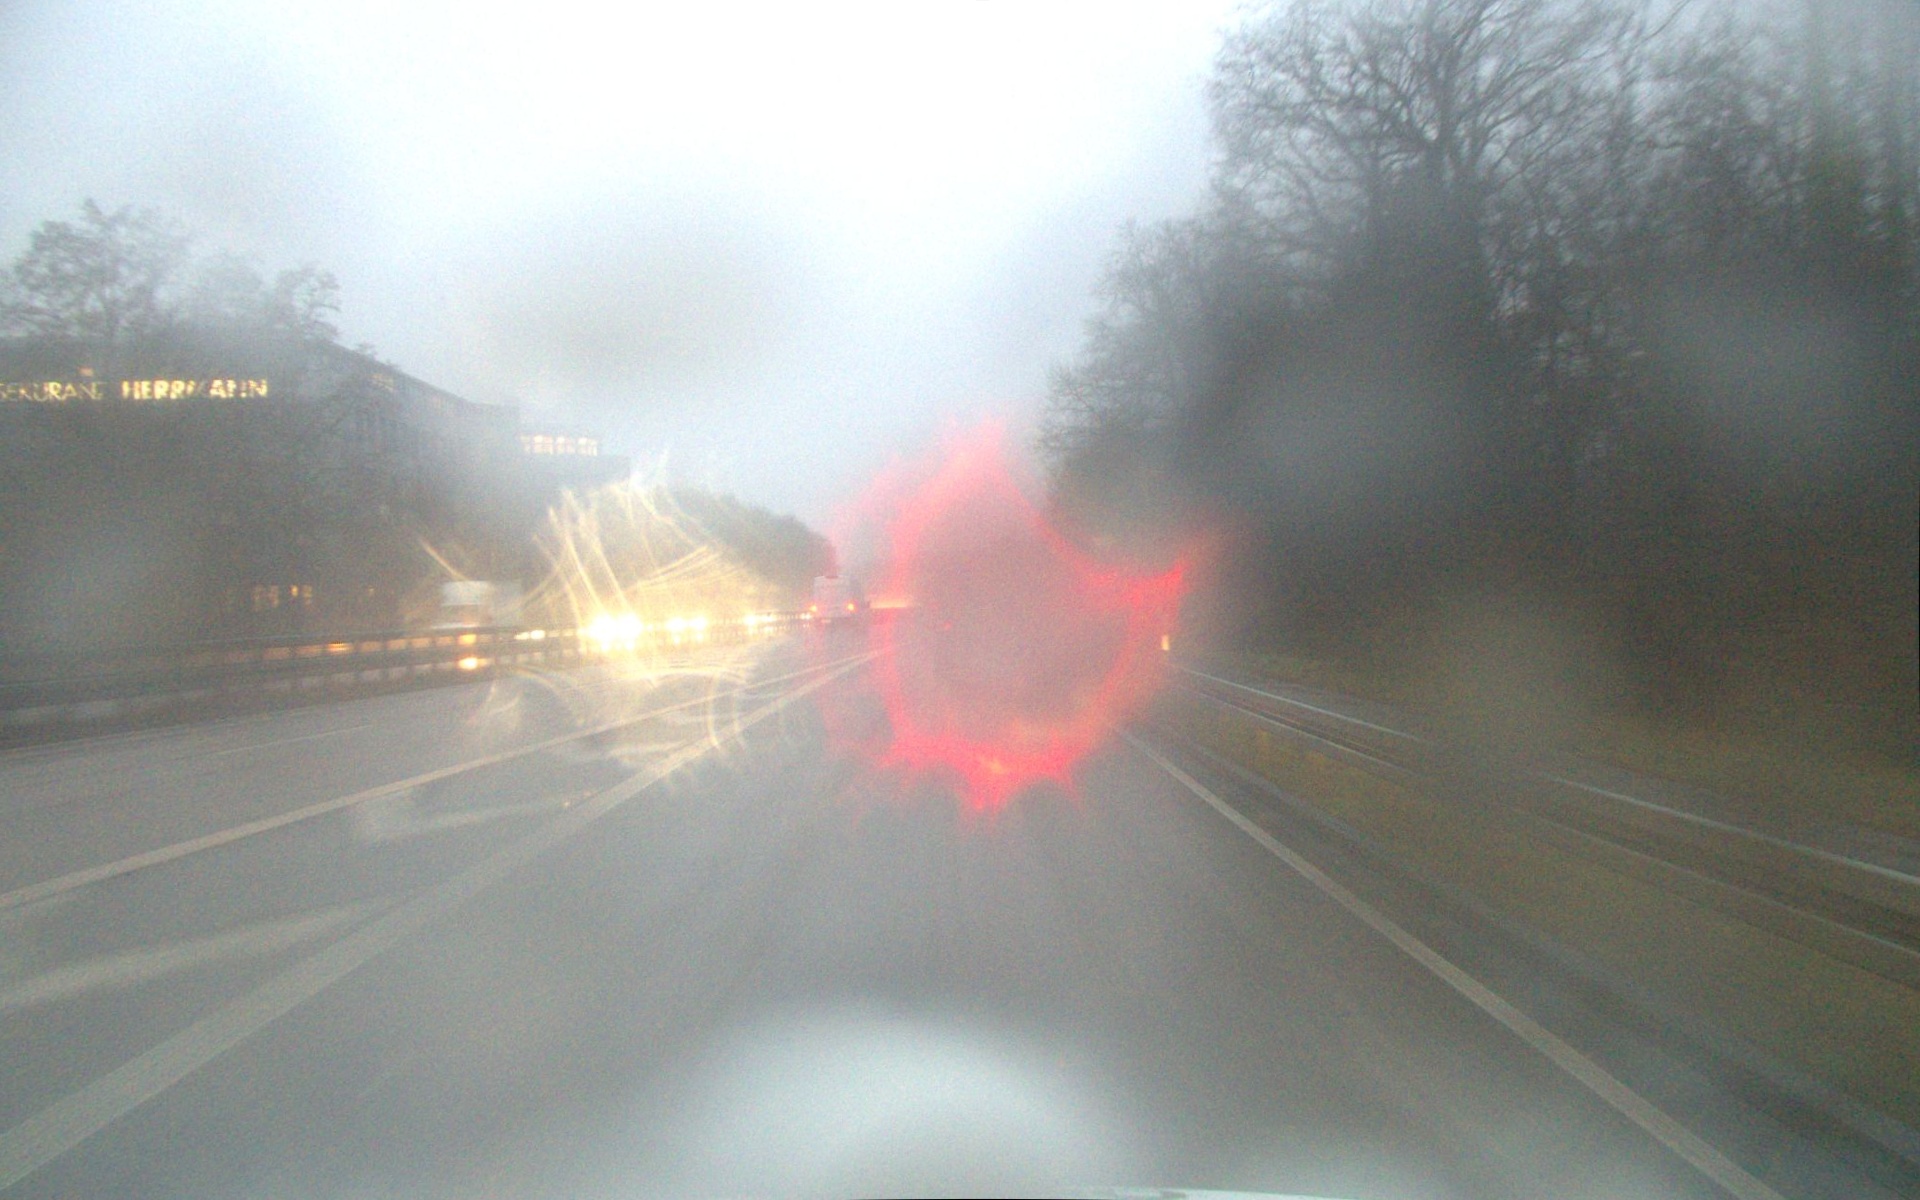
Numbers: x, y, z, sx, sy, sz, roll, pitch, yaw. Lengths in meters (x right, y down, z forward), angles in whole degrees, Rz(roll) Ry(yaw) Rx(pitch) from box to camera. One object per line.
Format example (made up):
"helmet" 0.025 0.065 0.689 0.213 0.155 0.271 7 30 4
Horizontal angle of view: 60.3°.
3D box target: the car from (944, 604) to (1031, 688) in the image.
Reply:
"car" 0.477 0.800 30.266 1.496 1.440 3.478 1 0 0

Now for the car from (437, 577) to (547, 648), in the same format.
"car" -19.422 0.512 69.002 2.474 2.778 6.342 1 0 3

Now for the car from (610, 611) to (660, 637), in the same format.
"car" -17.952 1.306 91.464 1.674 1.345 4.474 1 0 3

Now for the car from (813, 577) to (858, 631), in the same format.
"car" -5.956 0.182 79.688 1.960 2.496 3.998 1 0 -2
